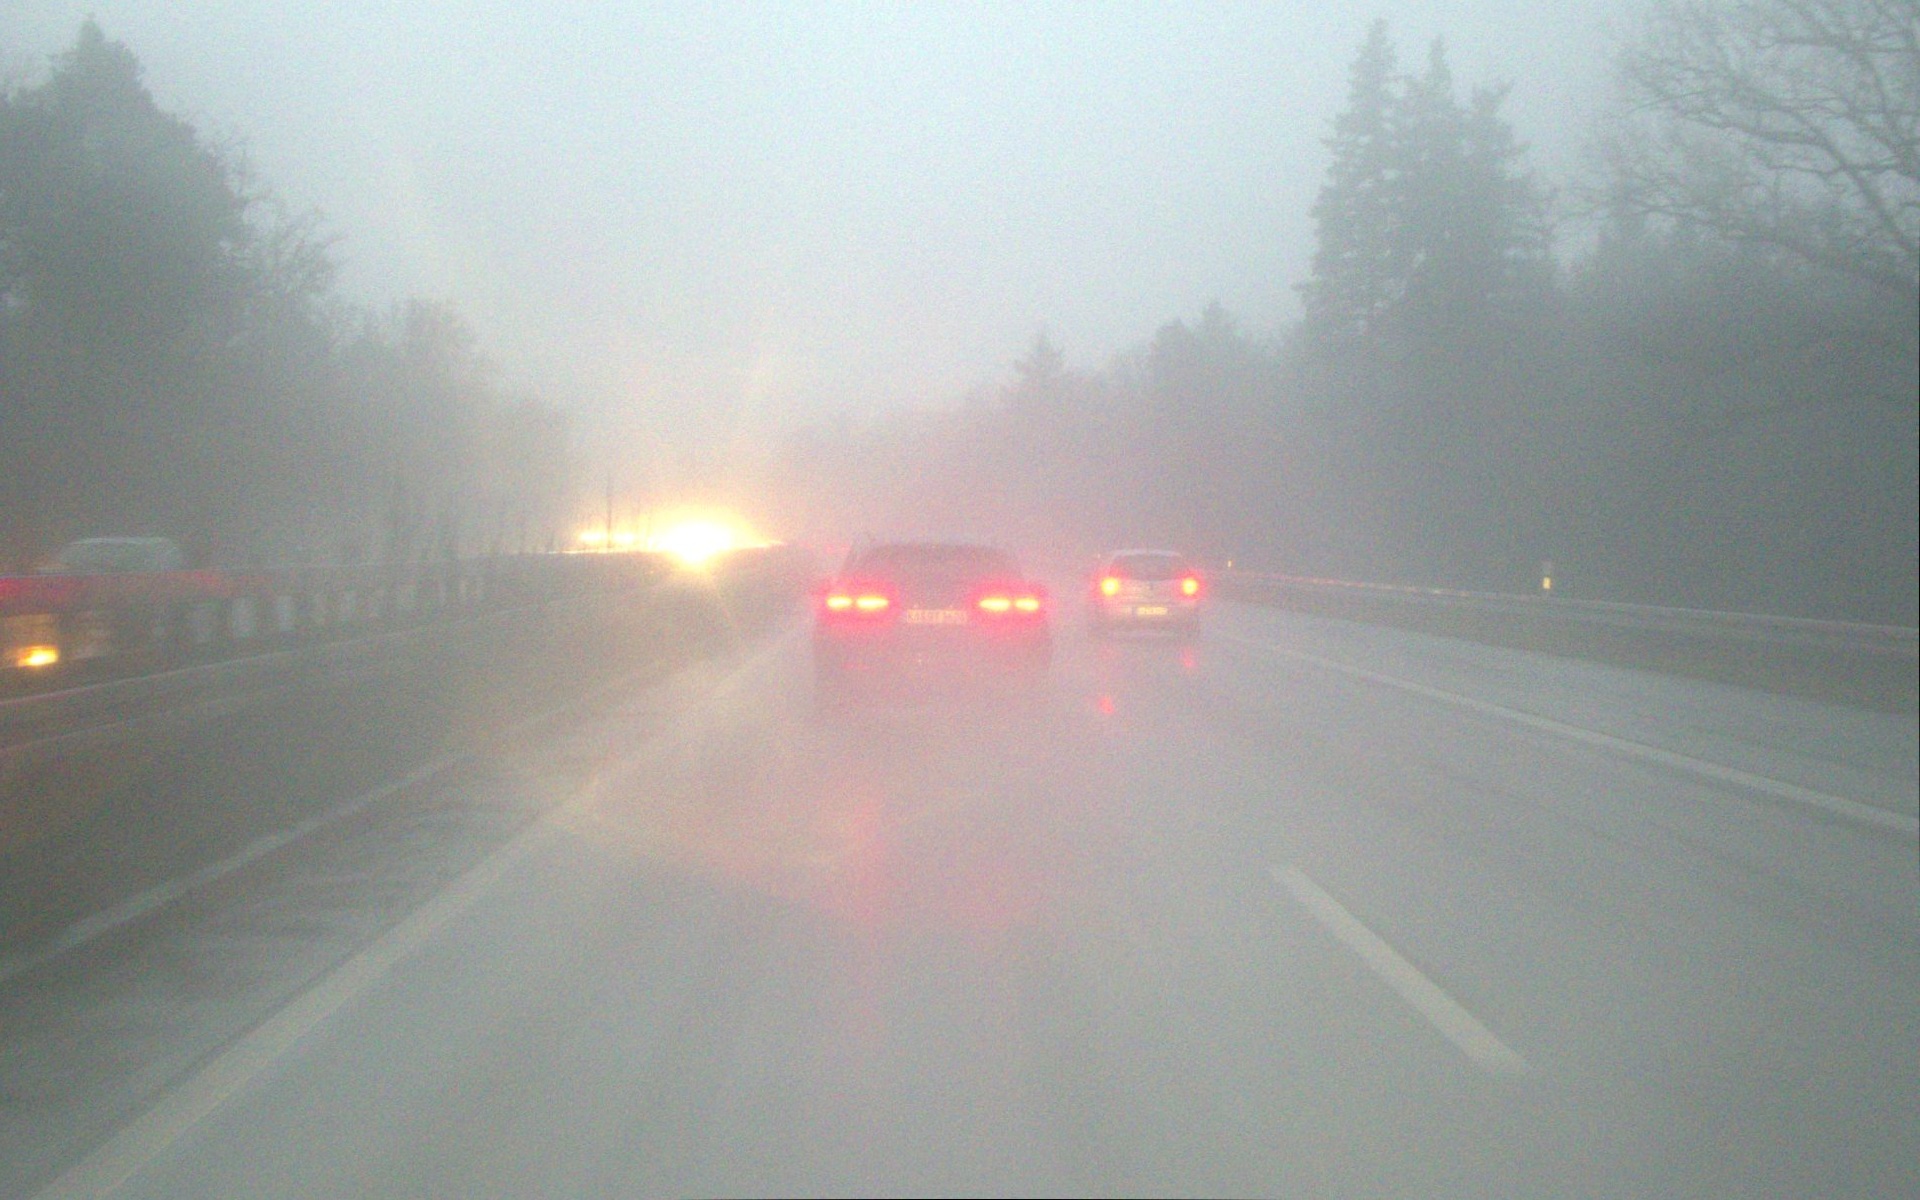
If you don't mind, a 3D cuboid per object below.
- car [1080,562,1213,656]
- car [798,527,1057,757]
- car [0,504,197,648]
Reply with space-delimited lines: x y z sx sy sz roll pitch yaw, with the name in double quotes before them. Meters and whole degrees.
"car" 2.983 0.118 55.679 1.780 1.432 3.538 1 1 -3
"car" -0.293 0.284 28.596 1.986 1.761 4.174 0 1 -1
"car" -12.585 -0.378 50.335 1.993 2.007 4.785 0 1 -3
